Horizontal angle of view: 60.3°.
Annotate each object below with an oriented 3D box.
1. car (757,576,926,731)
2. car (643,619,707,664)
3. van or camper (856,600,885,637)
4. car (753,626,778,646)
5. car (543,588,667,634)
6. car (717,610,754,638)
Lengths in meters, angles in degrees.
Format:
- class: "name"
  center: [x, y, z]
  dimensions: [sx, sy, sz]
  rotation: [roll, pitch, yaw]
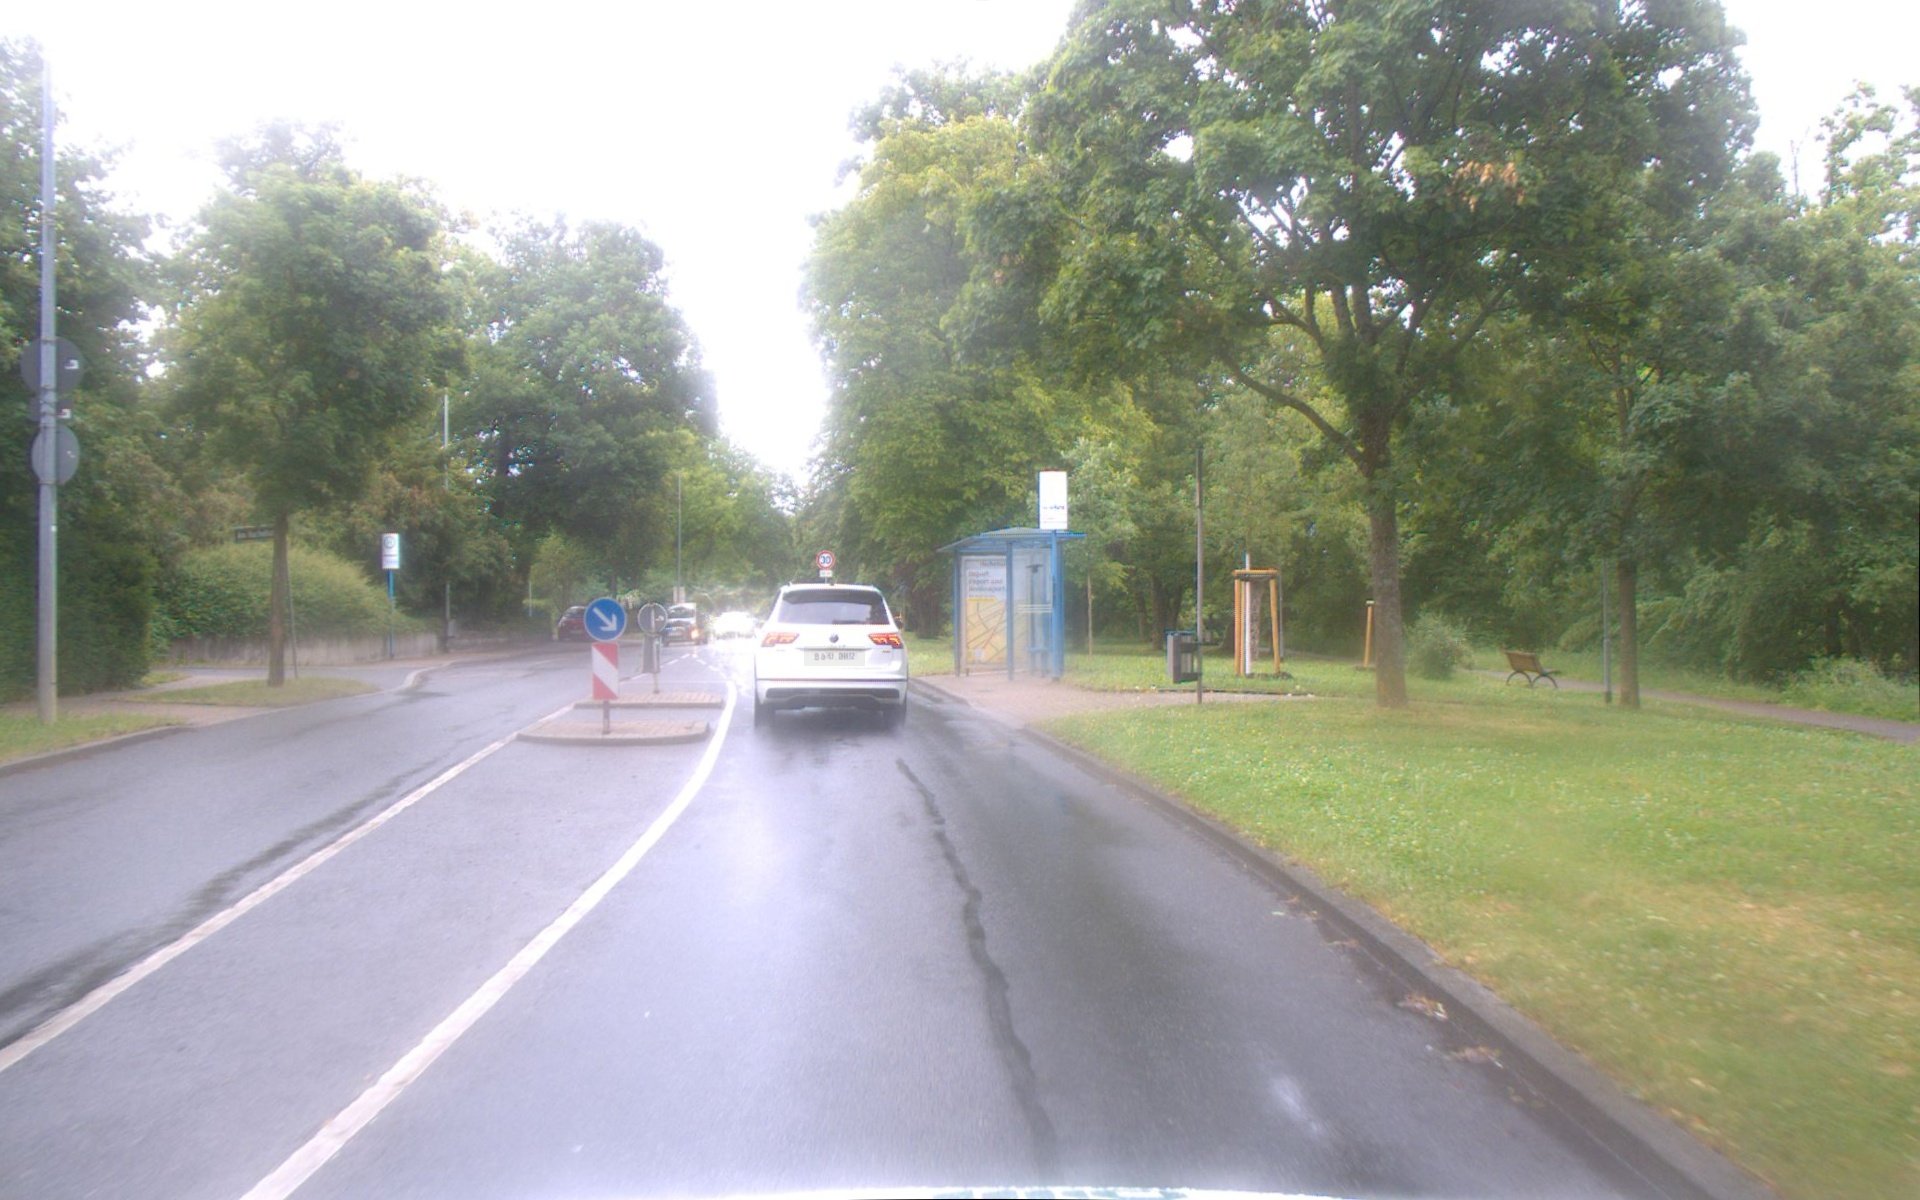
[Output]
- class: "car"
  center: [-1.506, 0.613, 20.506]
  dimensions: [1.868, 1.715, 4.195]
  rotation: [0, -1, -5]
- class: "car"
  center: [-10.898, 1.556, 63.023]
  dimensions: [1.962, 1.604, 3.981]
  rotation: [0, 0, -17]
- class: "van or camper"
  center: [-6.642, 1.408, 123.235]
  dimensions: [1.975, 2.628, 8.431]
  rotation: [1, -1, -2]
- class: "car"
  center: [-15.406, 2.841, 131.058]
  dimensions: [1.667, 1.435, 4.005]
  rotation: [-2, -1, -4]
- class: "car"
  center: [-17.358, 0.542, 81.270]
  dimensions: [5.636, 2.074, 3.472]
  rotation: [1, -1, -8]
- class: "car"
  center: [-12.218, 1.310, 90.094]
  dimensions: [1.755, 1.447, 4.354]
  rotation: [-1, 0, -5]
